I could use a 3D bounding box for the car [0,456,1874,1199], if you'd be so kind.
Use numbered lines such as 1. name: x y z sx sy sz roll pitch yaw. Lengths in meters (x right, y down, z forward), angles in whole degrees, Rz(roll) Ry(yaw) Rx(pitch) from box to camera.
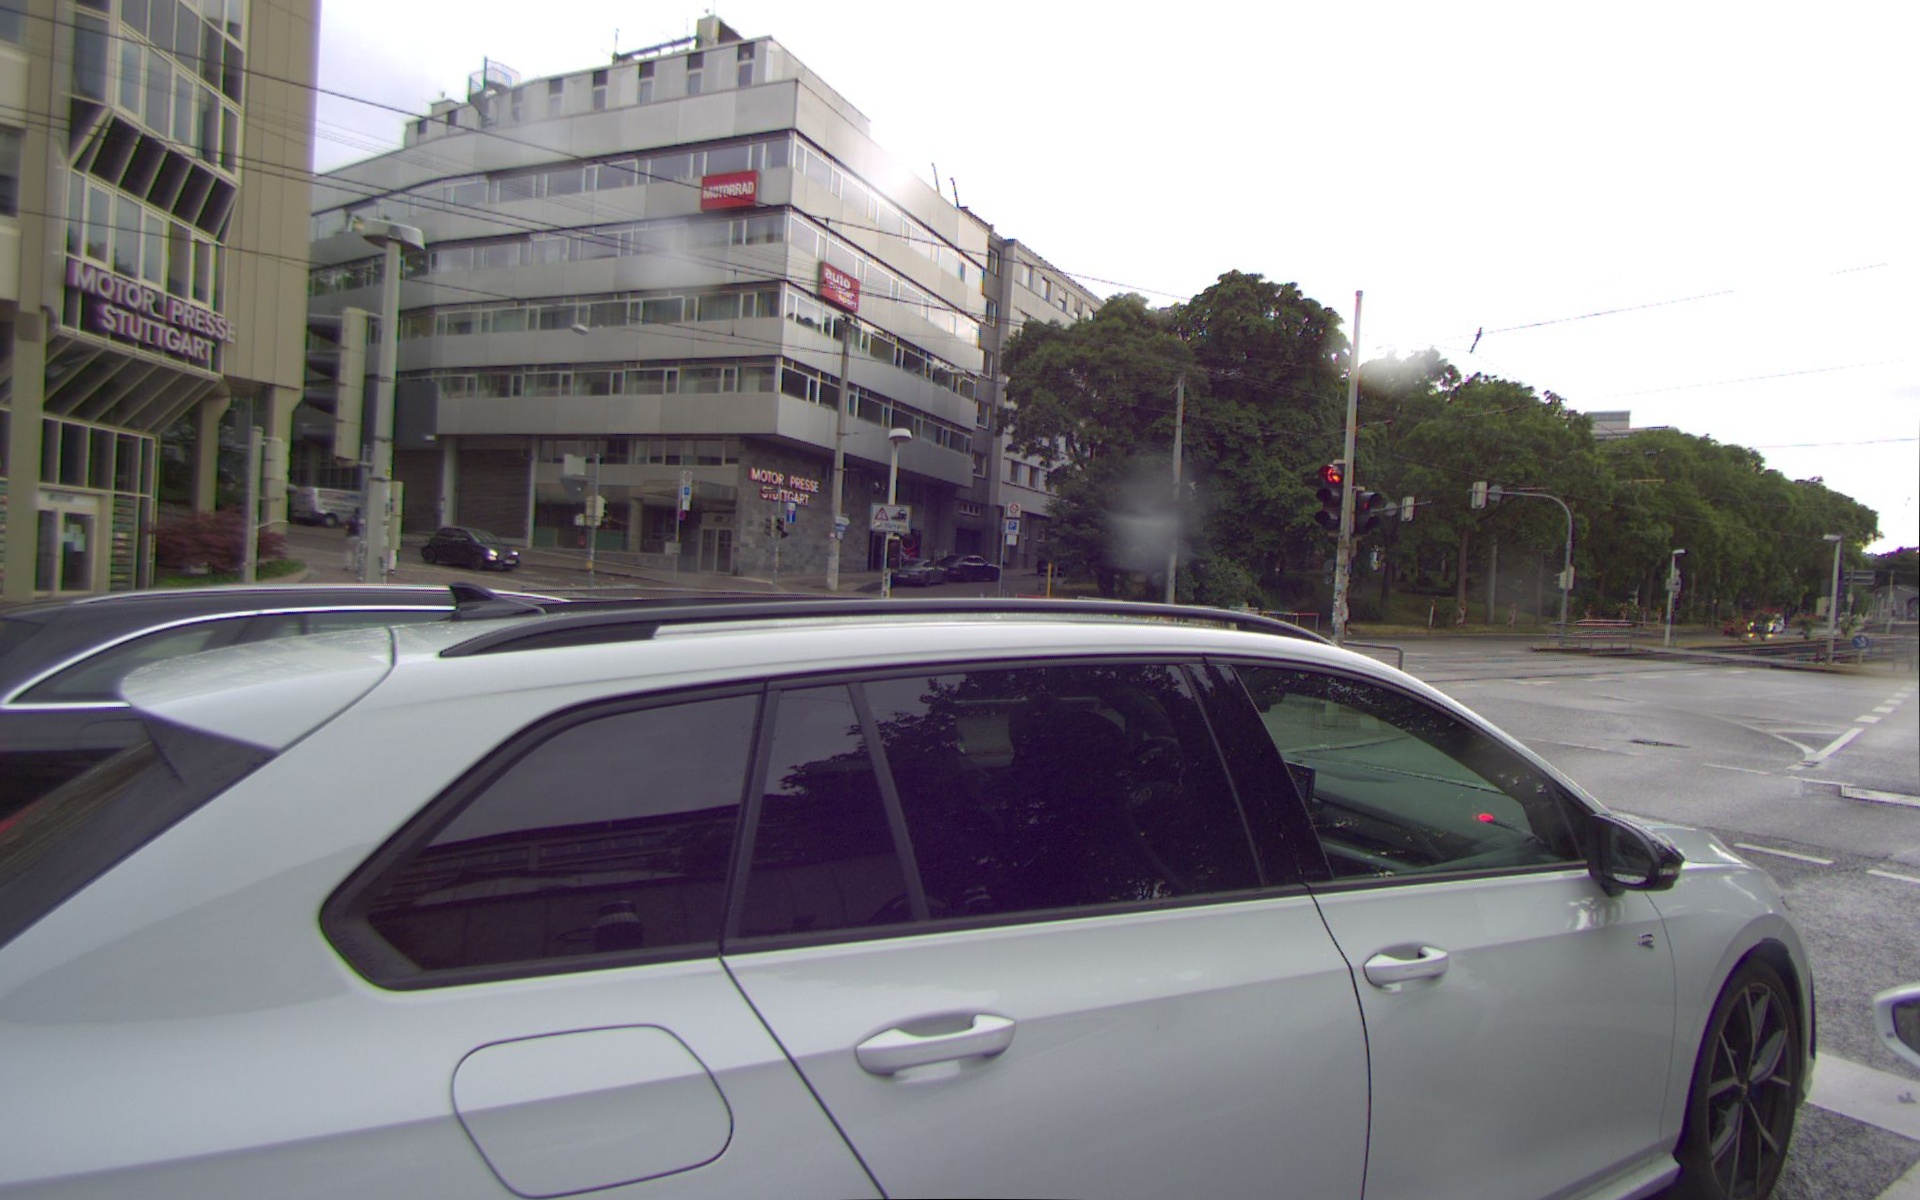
1. car: 0.098 0.700 2.241 4.203 1.597 1.670 2 1 -31

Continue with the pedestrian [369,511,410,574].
1. pedestrian: -17.034 -1.705 30.012 0.630 1.811 0.808 6 3 36

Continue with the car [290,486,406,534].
1. car: -32.072 -4.688 52.773 1.963 2.040 4.831 5 2 26

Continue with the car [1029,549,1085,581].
1. car: 6.417 -2.289 65.889 1.964 1.818 4.202 6 2 30

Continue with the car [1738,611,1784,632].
1. car: 62.744 1.689 78.666 3.967 1.539 1.977 1 2 -40

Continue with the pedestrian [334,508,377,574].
1. pedestrian: -17.360 -1.688 28.846 0.630 1.811 0.808 6 3 36

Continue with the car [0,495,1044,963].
1. car: -2.033 0.385 4.979 4.592 1.487 1.982 1 3 -32

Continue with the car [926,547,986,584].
1. car: -0.177 -1.948 55.605 1.961 1.818 3.998 5 5 19

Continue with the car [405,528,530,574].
1. car: -18.263 -1.804 37.311 3.920 1.383 1.830 5 2 16

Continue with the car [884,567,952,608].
1. car: -2.082 -0.640 50.744 1.961 1.818 4.000 5 2 19
